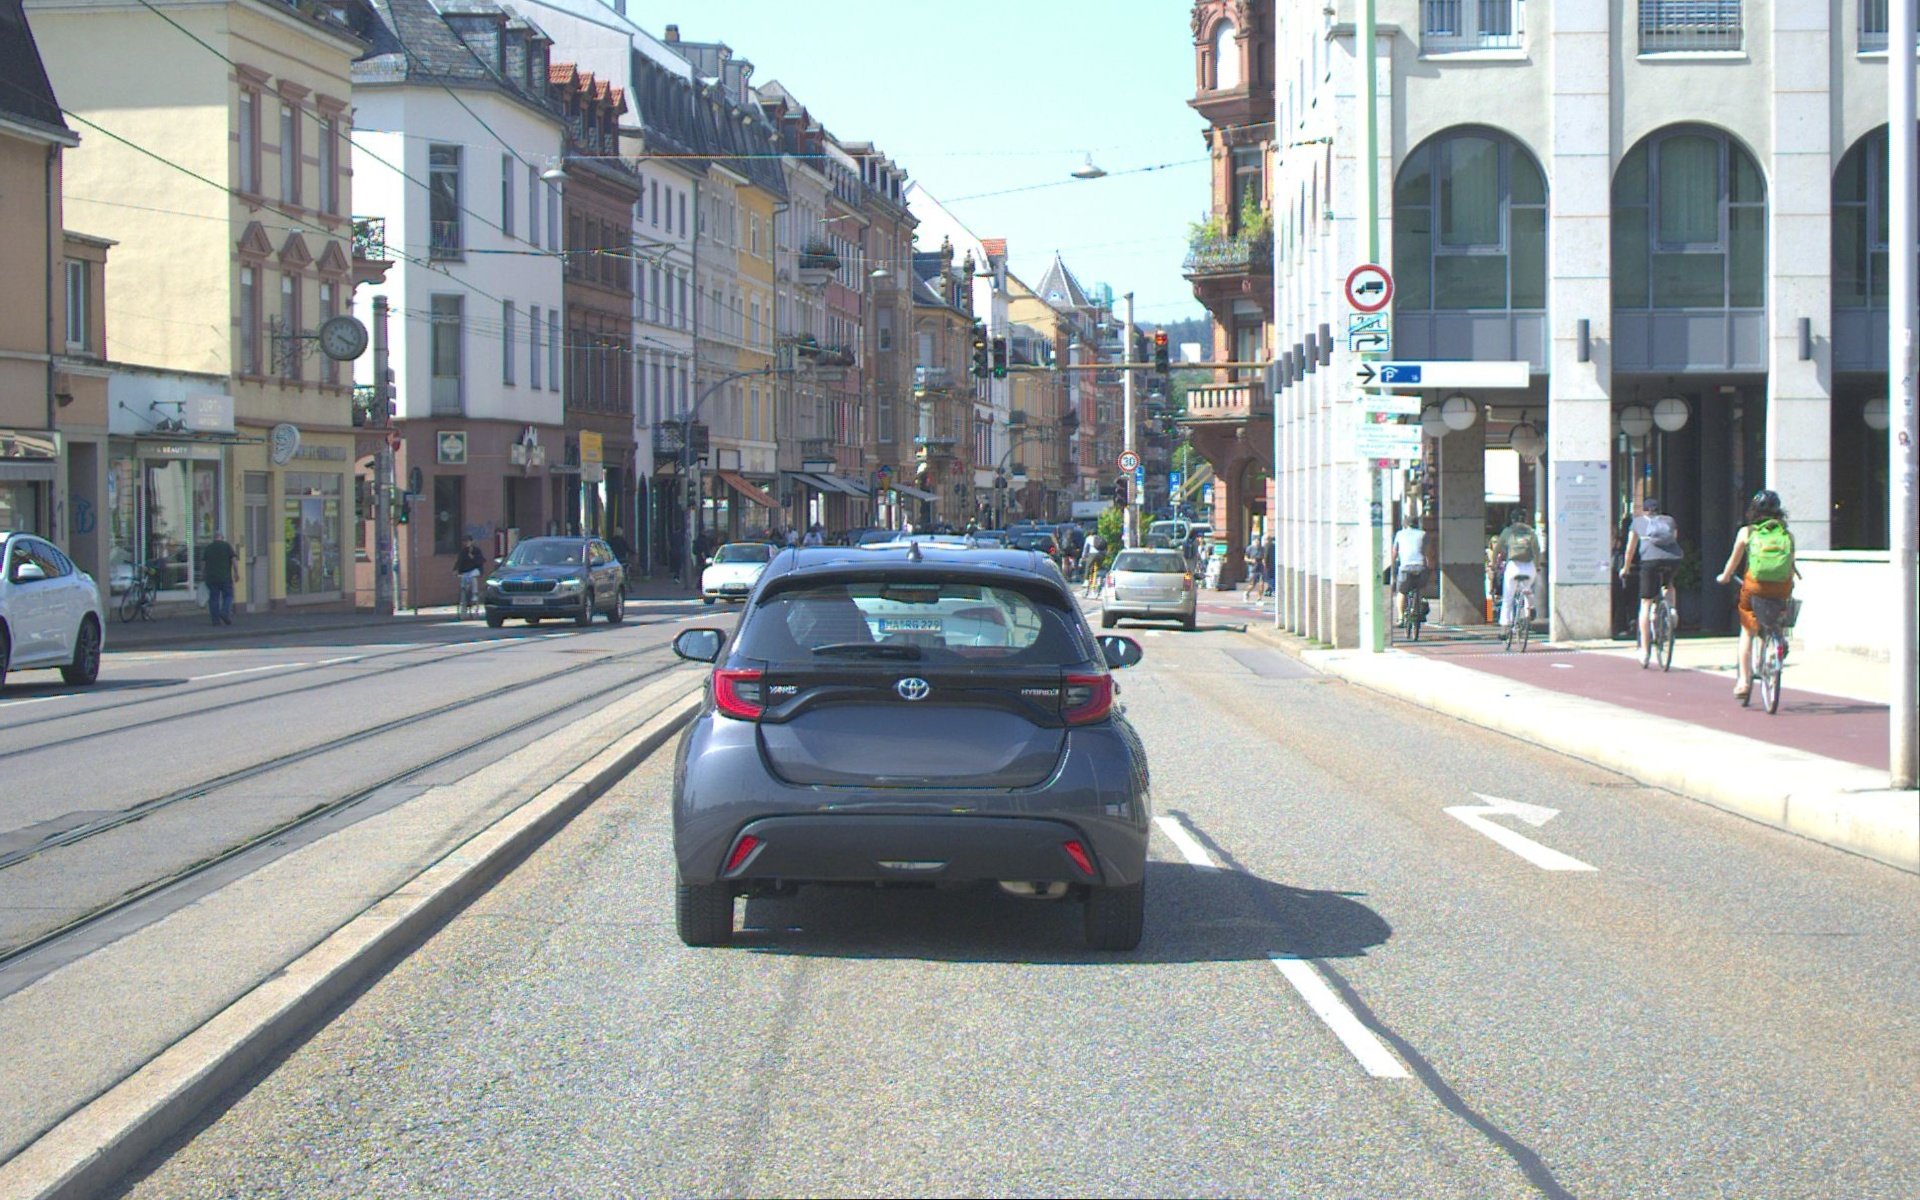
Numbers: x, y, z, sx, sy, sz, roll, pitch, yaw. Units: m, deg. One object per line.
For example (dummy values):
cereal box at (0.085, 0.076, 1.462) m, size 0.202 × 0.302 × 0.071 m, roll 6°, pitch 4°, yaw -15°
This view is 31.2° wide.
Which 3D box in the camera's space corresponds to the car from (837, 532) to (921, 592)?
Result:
car at (-2.397, -1.144, 102.896) m, size 1.994 × 1.766 × 3.999 m, roll 0°, pitch 1°, yaw 6°

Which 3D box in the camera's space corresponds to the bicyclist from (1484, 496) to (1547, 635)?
bicyclist at (6.692, -0.415, 41.437) m, size 0.586 × 1.645 × 0.702 m, roll -1°, pitch 1°, yaw -3°

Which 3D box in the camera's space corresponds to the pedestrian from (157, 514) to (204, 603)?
pedestrian at (-14.656, -0.785, 64.656) m, size 0.649 × 1.596 × 0.566 m, roll 4°, pitch 3°, yaw 0°

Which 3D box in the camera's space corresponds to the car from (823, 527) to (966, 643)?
car at (-0.915, -0.242, 48.332) m, size 1.897 × 1.525 × 4.000 m, roll 1°, pitch 1°, yaw -1°

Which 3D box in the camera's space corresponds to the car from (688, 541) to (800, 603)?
car at (-5.092, -0.675, 81.637) m, size 1.994 × 1.427 × 3.999 m, roll 1°, pitch 1°, yaw 6°

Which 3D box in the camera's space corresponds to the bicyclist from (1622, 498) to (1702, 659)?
bicyclist at (6.883, -0.218, 33.725) m, size 0.586 × 1.553 × 0.702 m, roll -1°, pitch 1°, yaw -3°

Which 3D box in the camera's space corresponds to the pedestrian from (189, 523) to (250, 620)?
pedestrian at (-13.174, -0.508, 61.177) m, size 0.762 × 1.648 × 0.711 m, roll 4°, pitch 1°, yaw 7°

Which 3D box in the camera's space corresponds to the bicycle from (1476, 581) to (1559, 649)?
bicycle at (6.709, 0.172, 41.444) m, size 0.593 × 0.763 × 1.867 m, roll -1°, pitch 1°, yaw -3°

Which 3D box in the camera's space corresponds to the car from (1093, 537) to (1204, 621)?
car at (3.429, -0.417, 63.256) m, size 1.705 × 1.461 × 4.326 m, roll 1°, pitch 1°, yaw -1°

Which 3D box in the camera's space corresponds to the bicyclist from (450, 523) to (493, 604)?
bicyclist at (-10.137, -0.757, 71.336) m, size 0.705 × 1.644 × 0.621 m, roll 2°, pitch 2°, yaw 8°

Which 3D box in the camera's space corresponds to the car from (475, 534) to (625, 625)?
car at (-7.201, -0.383, 60.718) m, size 1.794 × 1.540 × 3.920 m, roll 0°, pitch 1°, yaw 6°

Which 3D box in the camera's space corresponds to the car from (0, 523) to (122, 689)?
car at (-10.078, 0.038, 34.254) m, size 1.994 × 1.581 × 4.652 m, roll 0°, pitch 1°, yaw 5°

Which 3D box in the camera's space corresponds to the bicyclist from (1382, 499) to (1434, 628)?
bicyclist at (6.435, -0.526, 49.366) m, size 0.586 × 1.814 × 0.702 m, roll -1°, pitch 1°, yaw -3°

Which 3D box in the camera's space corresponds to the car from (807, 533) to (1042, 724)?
car at (-0.331, 0.195, 30.225) m, size 1.897 × 1.525 × 4.000 m, roll 1°, pitch 1°, yaw -1°

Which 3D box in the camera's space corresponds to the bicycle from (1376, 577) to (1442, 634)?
bicycle at (6.446, 0.075, 49.407) m, size 0.593 × 0.763 × 1.867 m, roll -1°, pitch 1°, yaw -3°

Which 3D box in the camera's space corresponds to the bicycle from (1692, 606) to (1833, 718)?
bicycle at (6.025, 0.452, 25.884) m, size 0.593 × 0.763 × 1.867 m, roll -1°, pitch 1°, yaw 0°

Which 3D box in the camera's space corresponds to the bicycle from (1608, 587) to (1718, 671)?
bicycle at (6.893, 0.276, 33.763) m, size 0.593 × 0.763 × 1.831 m, roll -1°, pitch 1°, yaw -3°

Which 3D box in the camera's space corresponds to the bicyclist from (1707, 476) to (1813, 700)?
bicyclist at (6.016, -0.095, 25.880) m, size 0.605 × 1.645 × 0.702 m, roll -1°, pitch 1°, yaw 0°

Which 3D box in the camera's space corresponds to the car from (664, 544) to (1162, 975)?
car at (-0.197, 0.532, 13.899) m, size 1.720 × 1.468 × 3.658 m, roll 1°, pitch 1°, yaw -1°

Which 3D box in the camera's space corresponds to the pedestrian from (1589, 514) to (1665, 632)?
pedestrian at (9.445, -0.390, 48.706) m, size 0.739 × 1.609 × 1.016 m, roll 4°, pitch 1°, yaw -1°

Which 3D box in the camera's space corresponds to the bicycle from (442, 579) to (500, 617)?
bicycle at (-10.147, -0.050, 71.380) m, size 0.620 × 0.713 × 2.044 m, roll 2°, pitch 2°, yaw 9°
